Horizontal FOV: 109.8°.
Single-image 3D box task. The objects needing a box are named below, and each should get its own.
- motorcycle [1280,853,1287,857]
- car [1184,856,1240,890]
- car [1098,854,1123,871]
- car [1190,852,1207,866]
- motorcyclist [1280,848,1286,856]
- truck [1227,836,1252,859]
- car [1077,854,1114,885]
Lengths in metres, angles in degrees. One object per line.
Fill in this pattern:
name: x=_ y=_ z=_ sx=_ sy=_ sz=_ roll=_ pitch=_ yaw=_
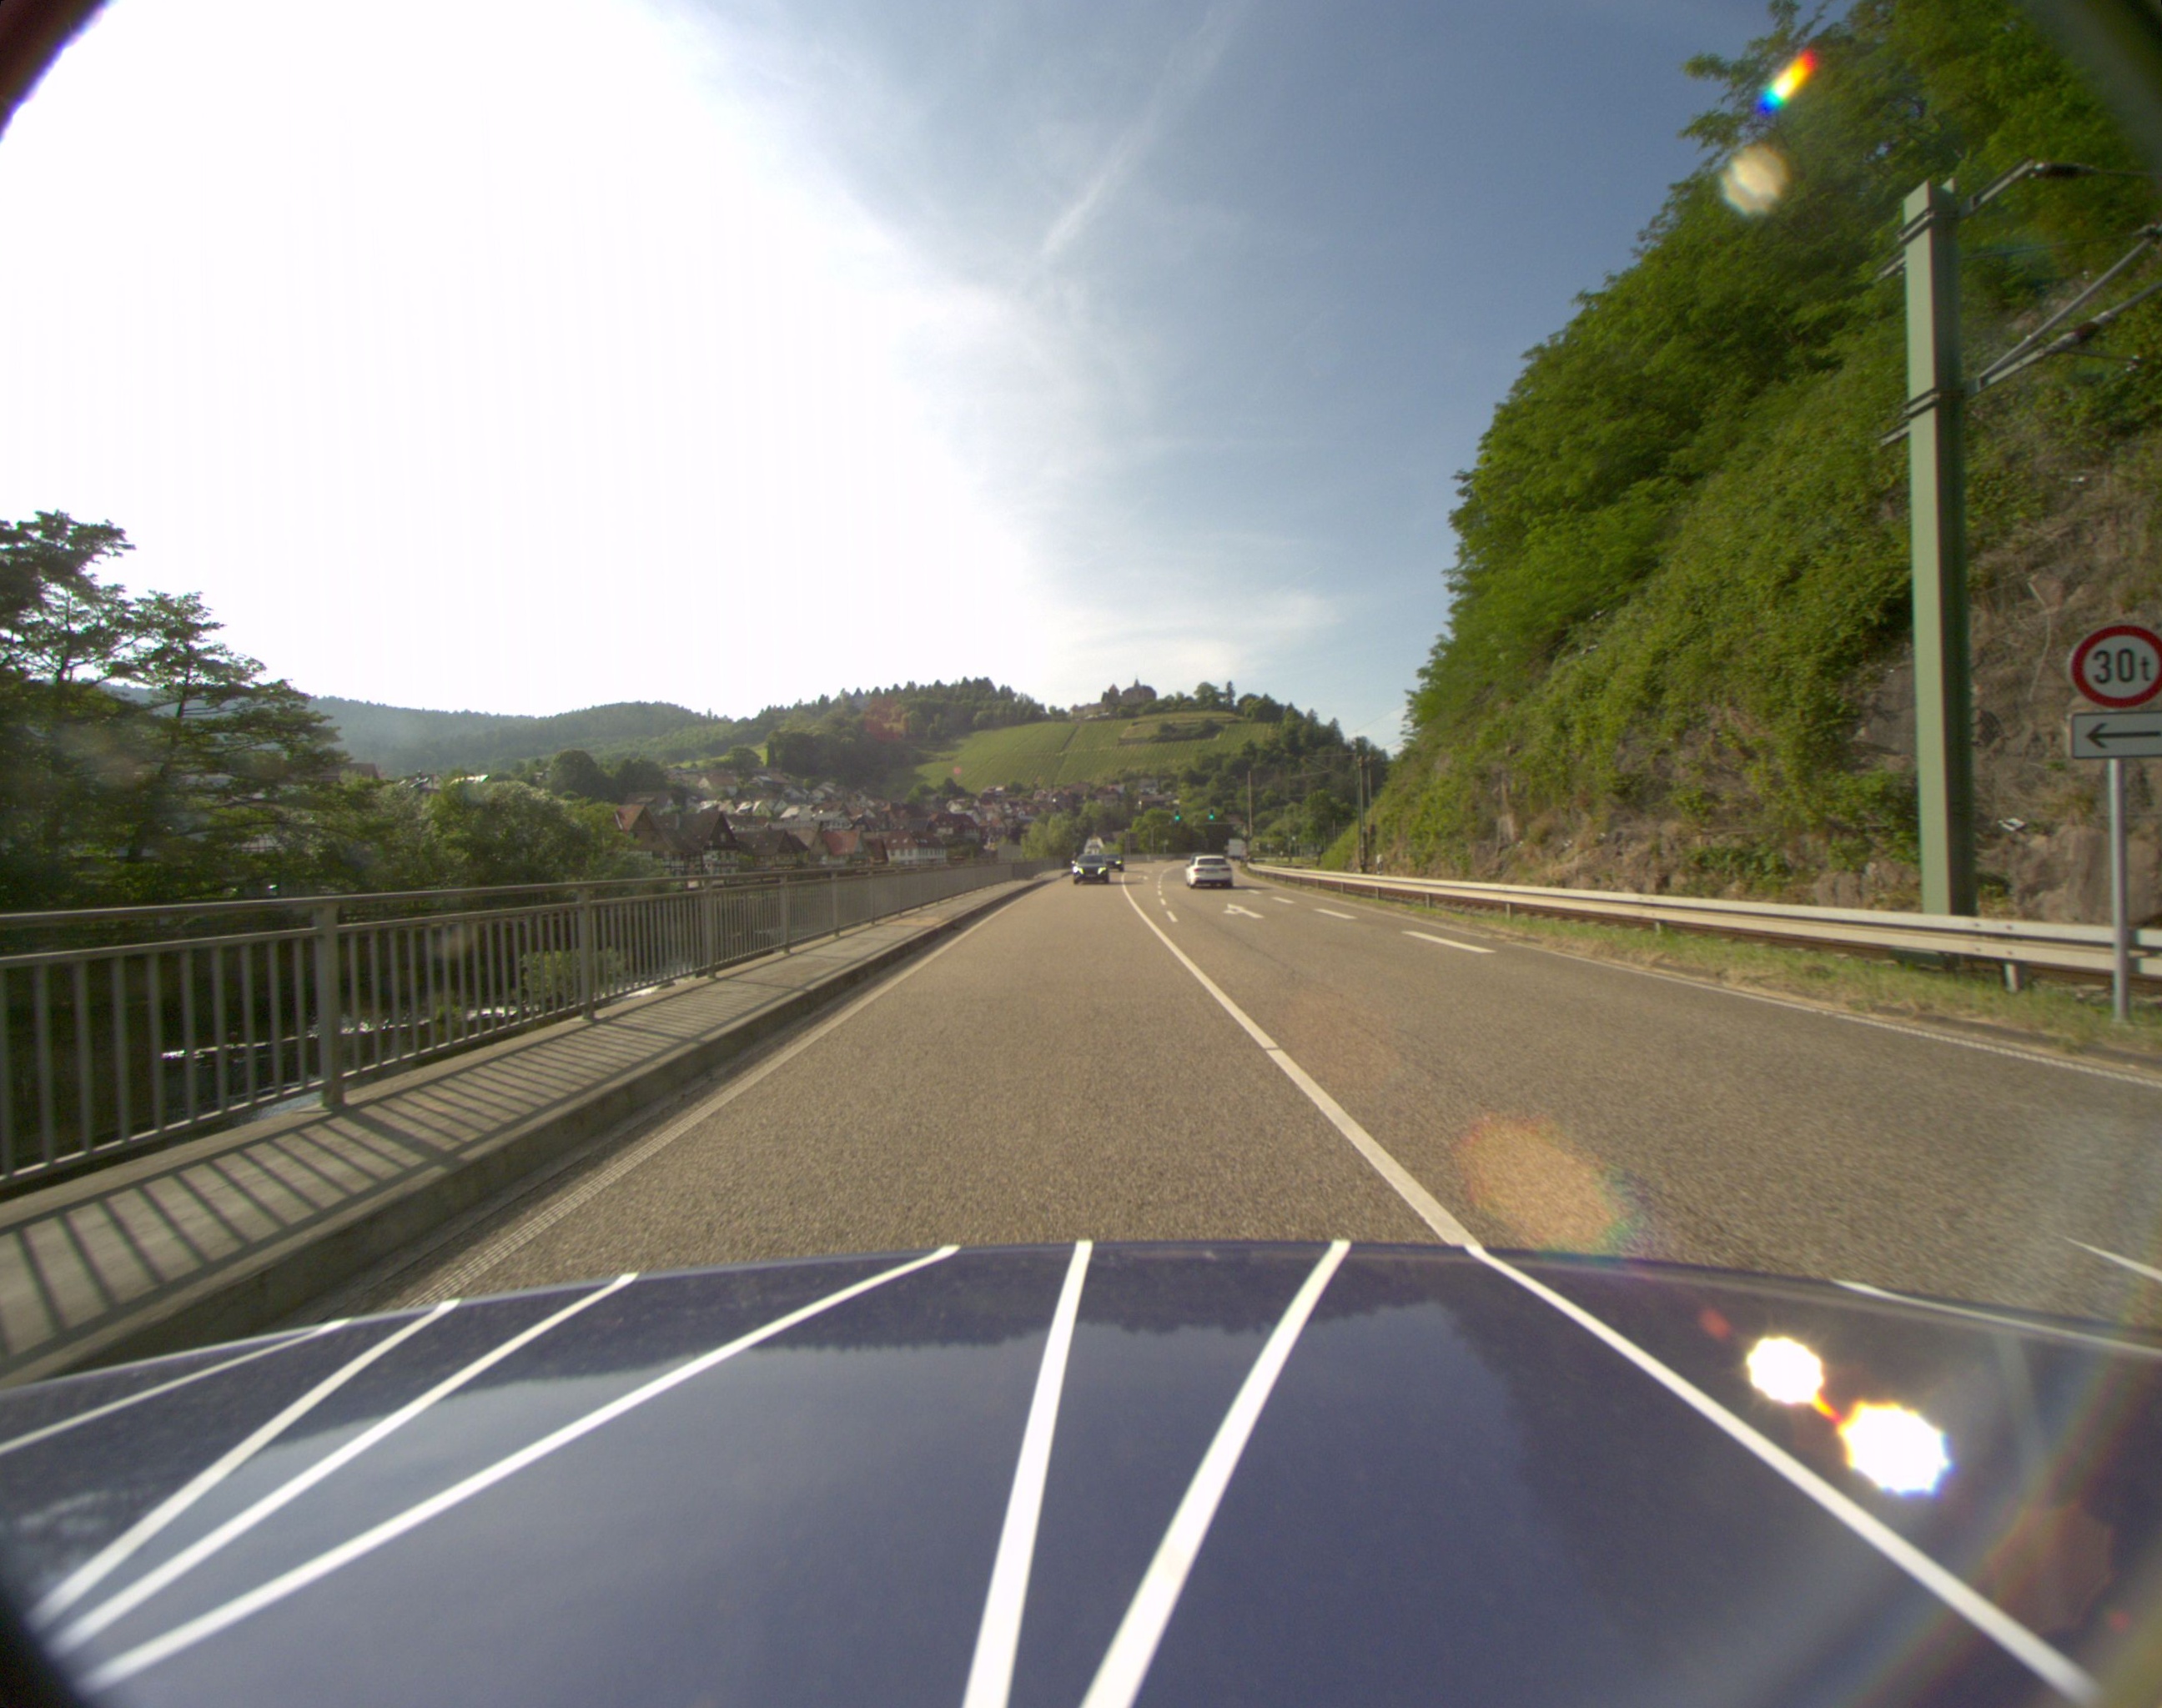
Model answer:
motorcycle: x=45.407 y=0.184 z=170.702 sx=0.824 sy=0.949 sz=2.222 roll=-1 pitch=0 yaw=35
car: x=5.919 y=0.820 z=34.753 sx=2.068 sy=1.431 sz=4.688 roll=-1 pitch=0 yaw=4
car: x=2.660 y=0.724 z=67.388 sx=1.998 sy=1.384 sz=4.002 roll=-1 pitch=0 yaw=6
car: x=14.120 y=0.613 z=91.464 sx=1.722 sy=1.561 sz=4.137 roll=-1 pitch=0 yaw=6
motorcyclist: x=45.426 y=-0.407 z=170.669 sx=1.006 sy=1.705 sz=0.867 roll=-1 pitch=1 yaw=33
truck: x=27.669 y=-1.107 z=132.492 sx=2.900 sy=3.776 sz=8.907 roll=0 pitch=0 yaw=21
car: x=0.727 y=0.812 z=41.319 sx=1.863 sy=1.576 sz=4.000 roll=-1 pitch=0 yaw=-1
